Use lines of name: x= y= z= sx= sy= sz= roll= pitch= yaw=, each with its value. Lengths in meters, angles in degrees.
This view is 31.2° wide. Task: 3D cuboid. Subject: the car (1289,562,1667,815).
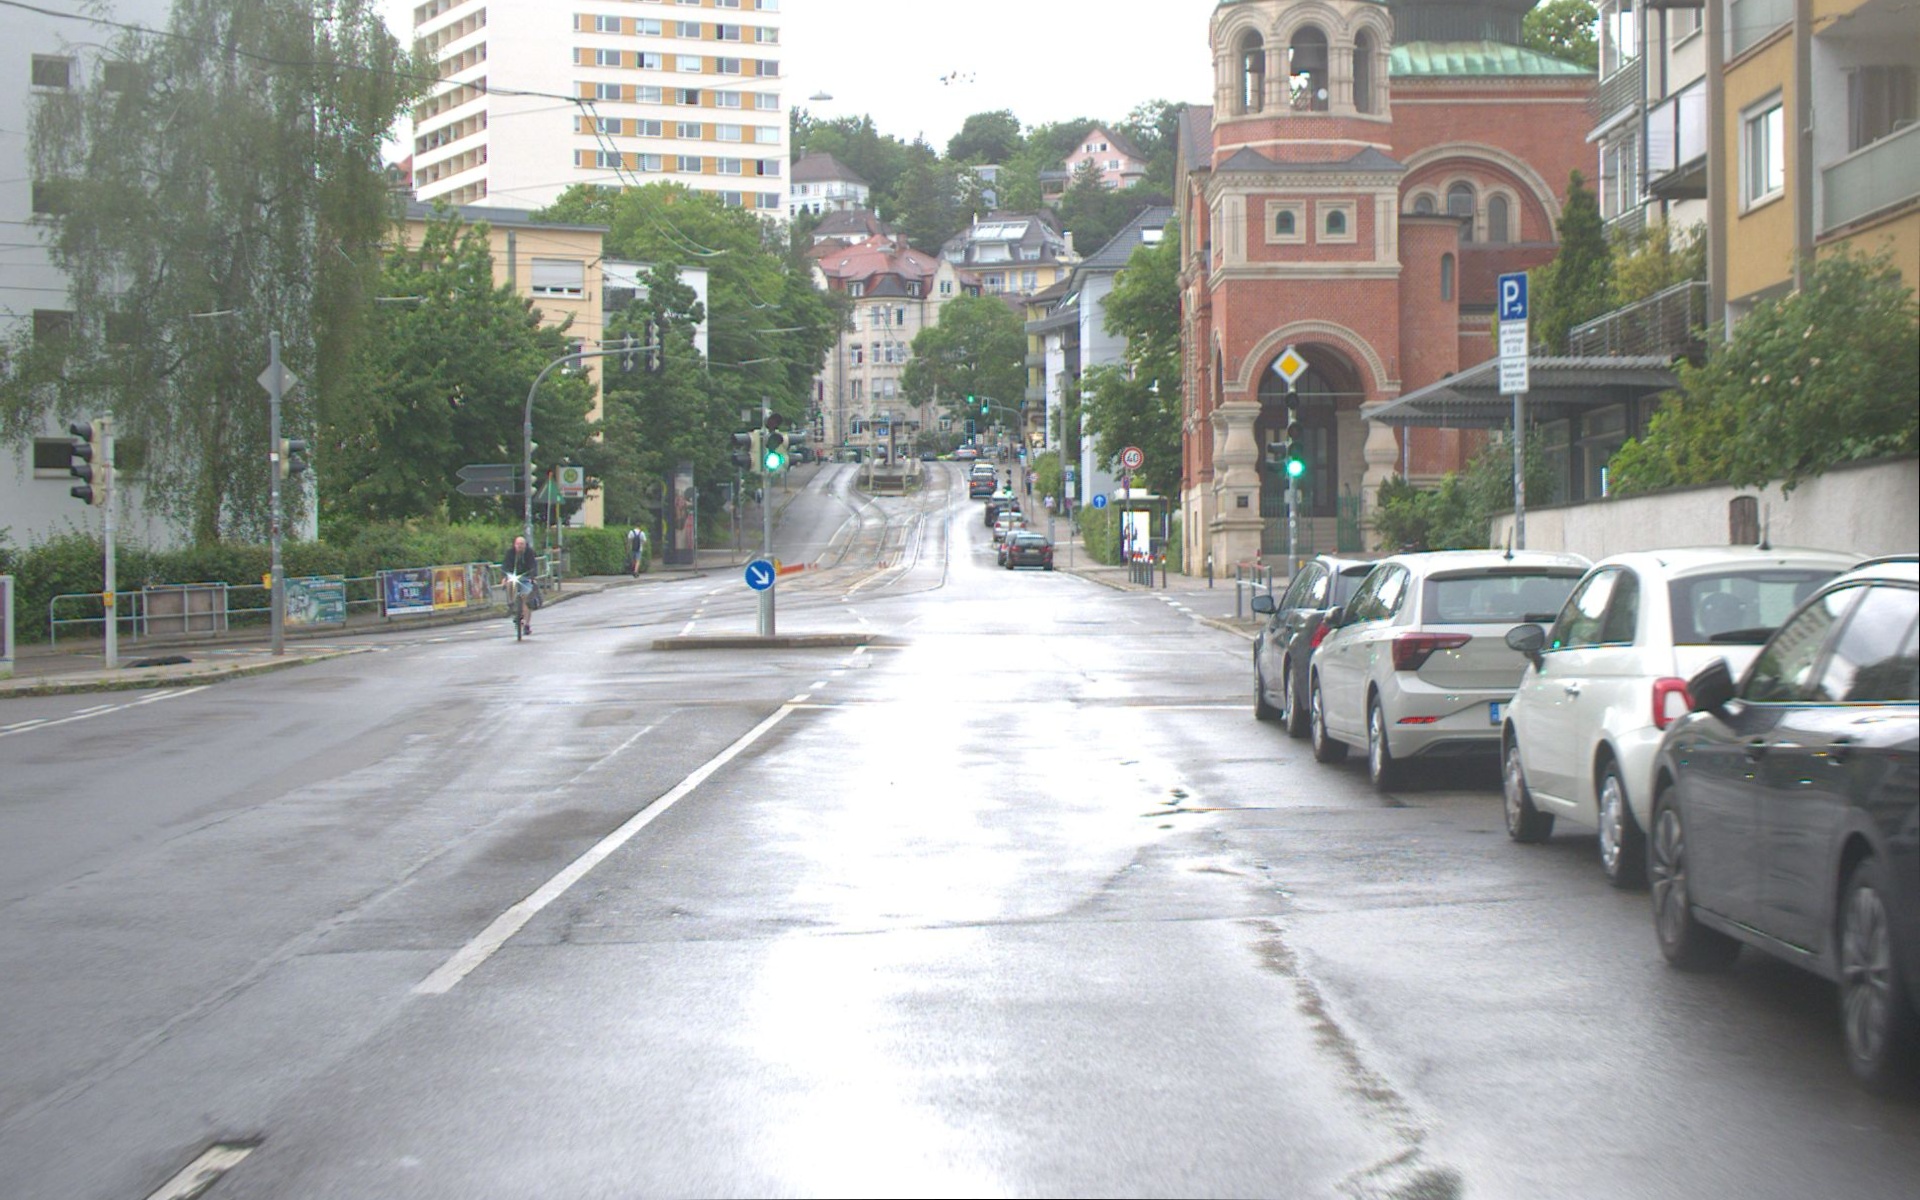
car: x=3.220 y=0.496 z=22.120 sx=1.647 sy=1.455 sz=4.103 roll=1 pitch=1 yaw=-2

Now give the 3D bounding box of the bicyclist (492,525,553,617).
bicyclist: x=-6.993 y=-0.464 z=54.929 sx=0.824 sy=1.457 sz=1.140 roll=1 pitch=0 yaw=-14

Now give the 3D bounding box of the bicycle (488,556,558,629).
bicycle: x=-6.984 y=-0.126 z=54.914 sx=0.824 sy=1.144 sz=2.128 roll=0 pitch=1 yaw=-15

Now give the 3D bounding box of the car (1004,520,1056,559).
car: x=2.824 y=-2.475 z=139.428 sx=1.858 sy=1.482 sz=4.646 roll=1 pitch=2 yaw=-2

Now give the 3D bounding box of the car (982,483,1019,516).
car: x=2.247 y=-5.635 z=192.189 sx=1.906 sy=1.636 sz=4.691 roll=1 pitch=4 yaw=-1

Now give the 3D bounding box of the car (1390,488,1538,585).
car: x=8.617 y=-1.065 z=59.123 sx=1.853 sy=1.498 sz=4.449 roll=-3 pitch=0 yaw=0

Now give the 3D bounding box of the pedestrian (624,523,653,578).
pedestrian: x=-10.782 y=-1.663 z=115.309 sx=0.918 sy=1.839 sz=1.017 roll=1 pitch=1 yaw=-4

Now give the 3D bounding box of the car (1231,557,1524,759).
car: x=3.240 y=0.402 z=27.454 sx=1.730 sy=1.455 sz=4.478 roll=1 pitch=1 yaw=-1

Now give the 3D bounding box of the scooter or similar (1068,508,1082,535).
scooter or similar: x=5.910 y=-4.035 z=176.592 sx=0.575 sy=1.244 sz=1.610 roll=1 pitch=6 yaw=5

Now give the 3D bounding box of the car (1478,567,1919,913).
car: x=3.604 y=0.581 z=16.364 sx=1.686 sy=1.448 sz=3.554 roll=1 pitch=1 yaw=-1

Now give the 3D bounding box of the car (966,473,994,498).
car: x=1.325 y=-7.591 z=228.248 sx=1.802 sy=1.640 sz=4.000 roll=1 pitch=2 yaw=1

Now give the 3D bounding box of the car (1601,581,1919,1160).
car: x=3.348 y=0.683 z=10.425 sx=1.911 sy=1.421 sz=4.452 roll=1 pitch=1 yaw=-1

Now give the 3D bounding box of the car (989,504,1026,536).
car: x=2.410 y=-4.096 z=175.810 sx=1.704 sy=1.428 sz=4.103 roll=1 pitch=4 yaw=-1
